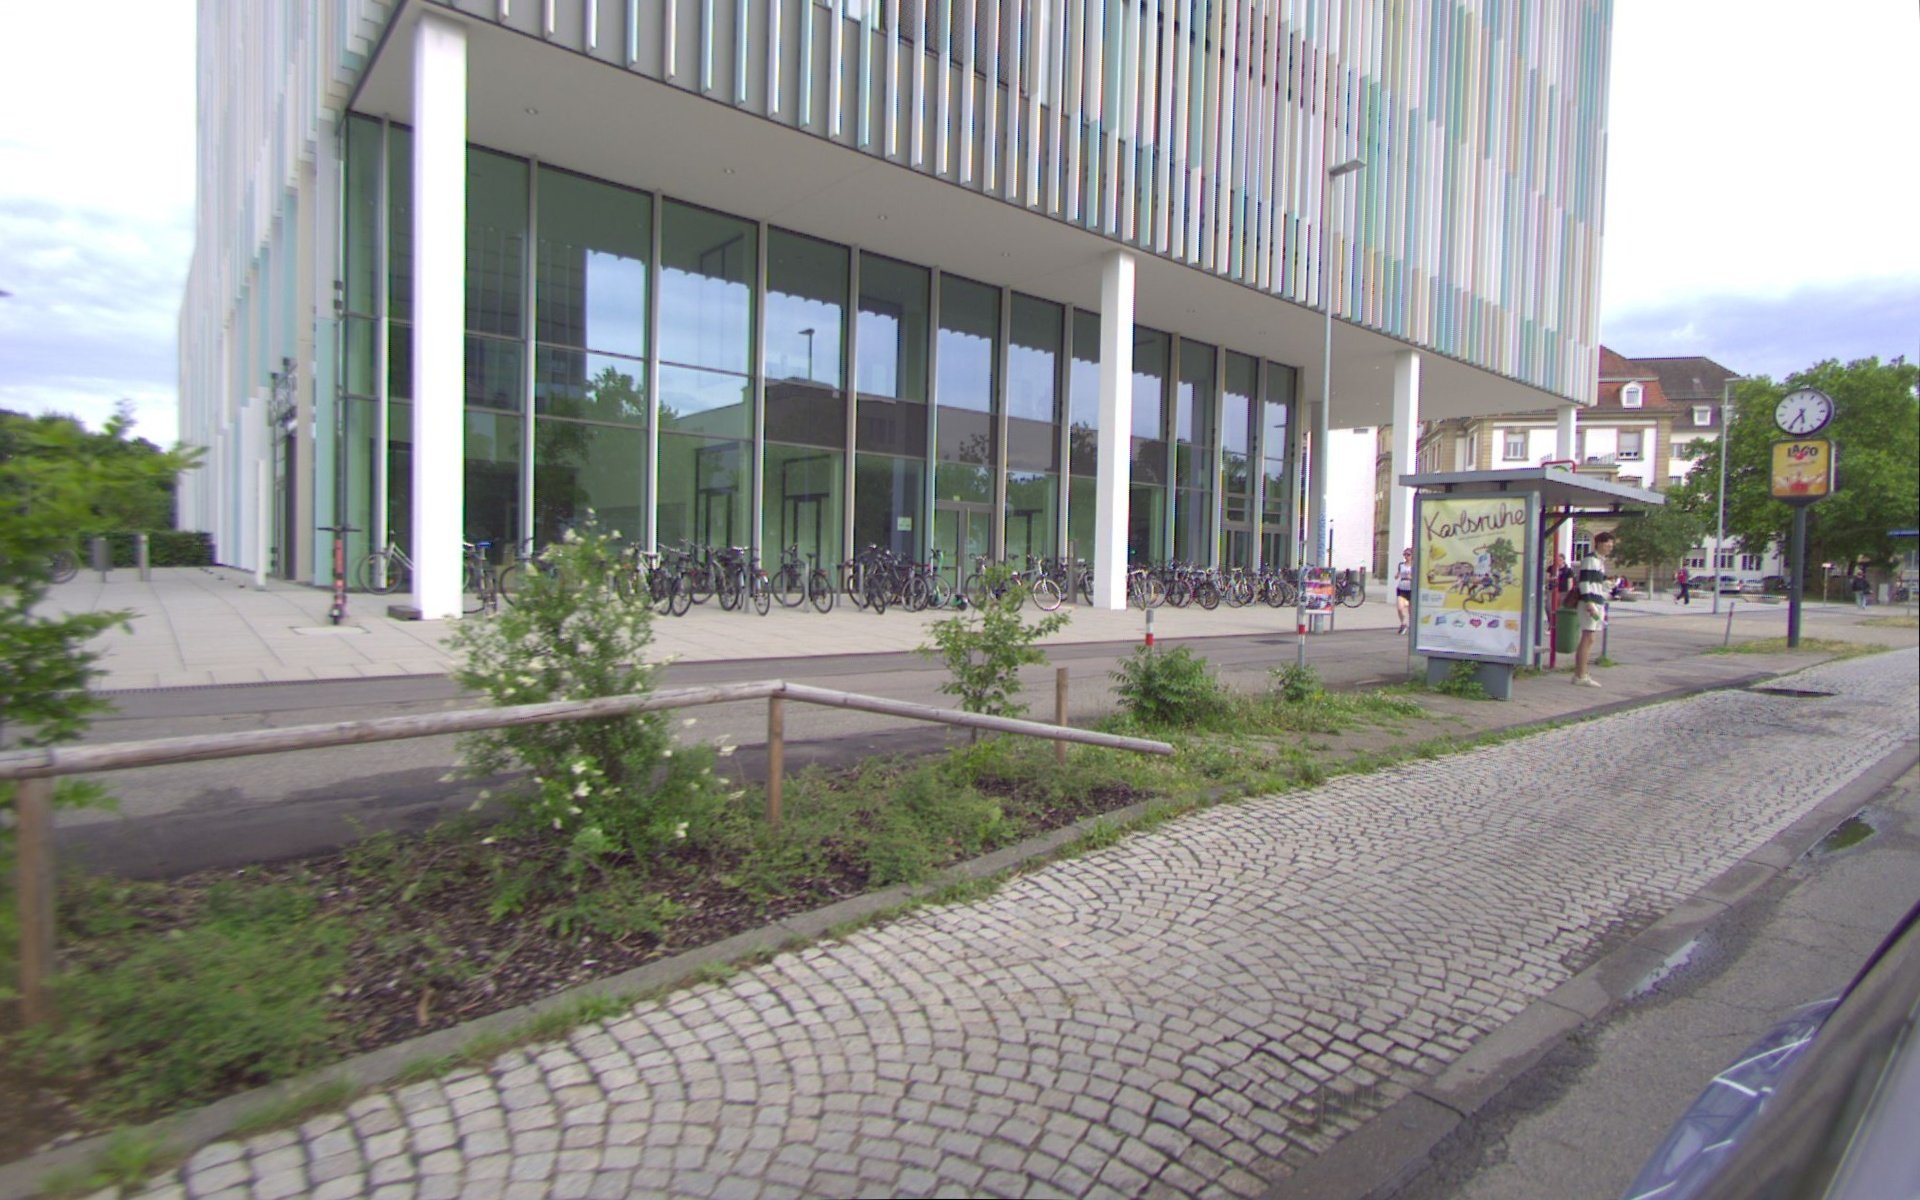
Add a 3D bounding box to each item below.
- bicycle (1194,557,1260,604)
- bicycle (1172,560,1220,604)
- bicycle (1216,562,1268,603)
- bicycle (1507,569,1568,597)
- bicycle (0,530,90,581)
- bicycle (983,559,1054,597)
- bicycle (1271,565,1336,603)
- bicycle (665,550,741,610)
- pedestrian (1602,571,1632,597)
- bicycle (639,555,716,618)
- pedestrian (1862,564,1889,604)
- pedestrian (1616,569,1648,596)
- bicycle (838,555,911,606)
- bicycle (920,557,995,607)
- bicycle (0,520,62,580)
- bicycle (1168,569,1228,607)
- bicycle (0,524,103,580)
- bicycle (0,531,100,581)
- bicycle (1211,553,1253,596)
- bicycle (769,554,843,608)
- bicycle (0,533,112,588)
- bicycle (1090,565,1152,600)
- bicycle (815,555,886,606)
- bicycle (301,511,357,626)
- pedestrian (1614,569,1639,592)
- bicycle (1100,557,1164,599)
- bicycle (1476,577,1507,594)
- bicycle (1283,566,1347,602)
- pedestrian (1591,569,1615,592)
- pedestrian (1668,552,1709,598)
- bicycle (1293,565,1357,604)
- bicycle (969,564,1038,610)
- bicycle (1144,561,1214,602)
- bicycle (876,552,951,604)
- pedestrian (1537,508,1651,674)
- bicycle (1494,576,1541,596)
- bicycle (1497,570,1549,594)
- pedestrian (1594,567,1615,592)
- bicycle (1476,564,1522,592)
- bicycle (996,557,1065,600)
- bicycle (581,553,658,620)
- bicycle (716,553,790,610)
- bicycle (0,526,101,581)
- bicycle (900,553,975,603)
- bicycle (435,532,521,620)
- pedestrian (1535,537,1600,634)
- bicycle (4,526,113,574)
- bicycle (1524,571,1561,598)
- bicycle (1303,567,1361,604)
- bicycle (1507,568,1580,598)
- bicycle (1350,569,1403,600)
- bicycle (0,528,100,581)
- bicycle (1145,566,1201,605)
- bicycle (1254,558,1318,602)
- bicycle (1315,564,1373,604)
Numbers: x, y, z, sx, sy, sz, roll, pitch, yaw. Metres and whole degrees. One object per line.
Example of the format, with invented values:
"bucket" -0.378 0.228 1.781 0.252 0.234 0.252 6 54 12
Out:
"bicycle" 6.936 -0.516 26.360 0.561 1.115 1.650 0 4 -36
"bicycle" 6.018 -0.476 25.831 0.426 1.062 1.203 0 3 -33
"bicycle" 7.529 -0.466 27.061 0.539 1.020 1.247 0 4 -35
"bicycle" 25.093 -0.743 43.988 2.146 1.129 0.735 2 2 8
"bicycle" -26.835 -1.289 29.315 2.425 1.411 0.817 0 3 -36
"bicycle" 1.209 -0.467 21.056 0.546 0.725 1.564 0 4 -39
"bicycle" 9.500 -0.454 28.012 0.546 0.884 1.612 0 7 -38
"bicycle" -4.203 -0.343 16.480 0.546 0.885 1.611 0 4 -39
"pedestrian" 31.350 -0.759 48.303 0.828 1.208 0.896 0 2 -26
"bicycle" -4.441 -0.226 15.857 0.546 0.885 1.611 0 4 -39
"pedestrian" 47.520 -0.857 52.526 0.878 2.038 0.845 0 2 -38
"pedestrian" 32.082 -0.837 48.335 0.876 1.221 0.846 1 2 -6
"bicycle" -1.629 -0.381 19.121 0.546 0.885 1.611 0 4 -39
"bicycle" -0.066 -0.361 19.799 0.546 0.885 1.611 0 4 -39
"bicycle" -22.863 -1.209 24.202 2.006 1.411 0.670 0 3 -36
"bicycle" 6.093 -0.311 25.962 0.360 0.907 1.610 0 3 -39
"bicycle" -23.670 -1.234 26.130 2.303 1.411 0.673 0 3 -36
"bicycle" -27.254 -1.302 30.137 2.425 1.411 0.817 0 3 -36
"bicycle" 7.852 -0.761 29.336 0.636 1.158 1.989 3 4 1
"bicycle" -2.777 -0.350 18.158 0.546 0.885 1.611 0 4 -39
"bicycle" -19.998 -0.856 21.685 2.739 1.143 1.034 0 3 -36
"bicycle" 3.816 -0.429 24.016 0.546 0.755 1.438 0 4 -39
"bicycle" -2.049 -0.372 18.754 0.507 0.895 1.607 0 3 -40
"bicycle" -7.992 -0.432 12.858 0.453 1.349 1.657 1 4 -27
"pedestrian" 37.403 -1.097 56.791 0.862 1.273 0.911 0 0 -37
"bicycle" 4.151 -0.547 24.558 0.506 0.958 1.698 0 2 -33
"bicycle" 28.979 -0.797 55.212 1.333 0.910 0.542 2 2 6
"bicycle" 9.953 -0.465 28.424 0.546 0.885 1.611 0 5 -39
"pedestrian" 36.578 -1.112 57.612 0.862 1.273 0.911 0 0 -37
"pedestrian" 33.268 -1.131 46.205 1.113 2.088 1.186 0 0 -31
"bicycle" 10.374 -0.447 28.838 0.546 0.994 1.611 0 5 -39
"bicycle" 0.863 -0.277 20.393 0.546 0.849 1.459 0 4 -39
"bicycle" 5.195 -0.441 24.029 0.546 0.885 1.611 0 4 -39
"bicycle" -0.887 -0.429 18.991 0.546 0.885 1.611 0 4 -39
"pedestrian" 8.215 -0.130 13.121 0.839 2.038 0.914 2 2 -41
"bicycle" 26.636 -0.678 48.391 1.811 0.910 0.672 2 2 2
"bicycle" 26.428 -0.857 47.539 1.927 1.014 0.773 2 2 9
"pedestrian" 36.000 -1.155 56.529 0.908 1.384 0.866 0 0 40
"bicycle" 27.558 -1.132 51.753 1.991 1.322 0.639 4 2 29
"bicycle" 1.493 -0.470 21.597 0.546 0.844 1.537 0 4 -39
"bicycle" -5.142 -0.225 15.228 0.546 0.885 1.611 0 5 -39
"bicycle" -3.550 -0.325 17.258 0.546 0.885 1.611 0 4 -39
"bicycle" -24.796 -1.253 27.289 2.425 1.411 0.817 0 3 -36
"bicycle" -0.447 -0.432 19.360 0.546 0.885 1.611 0 4 -39
"bicycle" -6.824 -0.363 14.289 0.615 1.094 1.798 0 5 -41
"pedestrian" 13.224 -0.325 22.030 0.878 2.037 0.845 0 4 -38
"bicycle" -27.590 -1.515 31.043 2.425 1.411 0.883 0 3 -36
"bicycle" 24.102 -0.635 41.870 1.806 1.075 0.640 0 1 -36
"bicycle" 11.102 -0.447 30.249 0.557 0.947 1.615 2 4 -29
"bicycle" 25.969 -0.764 45.092 2.675 1.202 0.773 2 2 9
"bicycle" 13.325 -0.506 32.425 1.465 0.941 0.439 3 2 12
"bicycle" -25.569 -1.268 28.172 2.425 1.411 0.817 0 3 -36
"bicycle" 5.251 -0.373 24.986 0.546 0.885 1.286 0 4 -39
"bicycle" 9.019 -0.567 28.038 0.561 1.104 1.652 0 5 -31
"bicycle" 10.987 -0.472 28.970 0.549 1.056 1.404 0 5 -39
